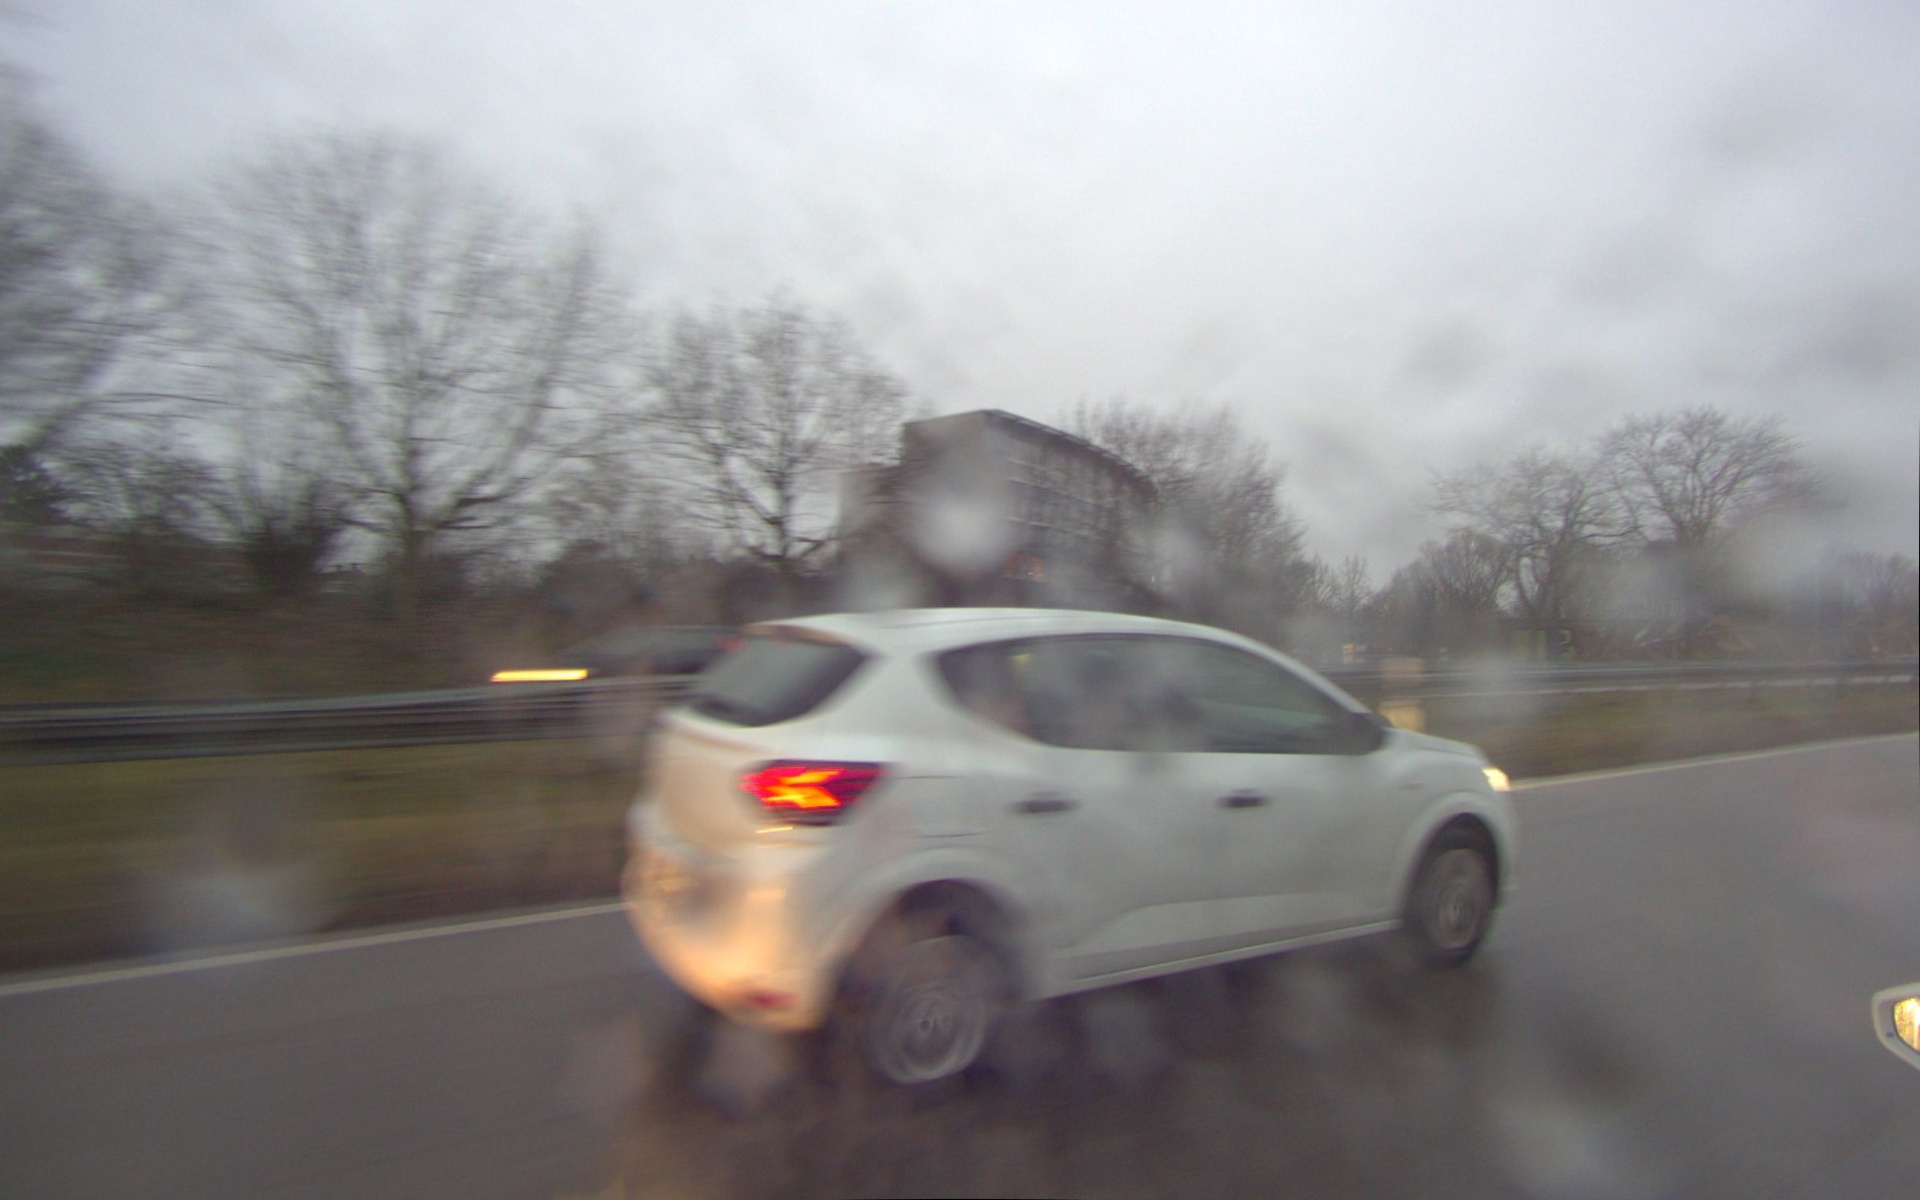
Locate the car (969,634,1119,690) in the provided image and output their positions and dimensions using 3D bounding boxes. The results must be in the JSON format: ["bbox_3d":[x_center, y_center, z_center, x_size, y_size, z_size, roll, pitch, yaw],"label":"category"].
[{"bbox_3d":[2.697,1.933,31.746,4.634,1.630,1.773,2,-2,-34],"label":"car"}]

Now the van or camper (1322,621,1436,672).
[{"bbox_3d":[15.494,1.709,37.143,4.155,1.807,1.643,2,-2,-28],"label":"van or camper"}]

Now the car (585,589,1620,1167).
[{"bbox_3d":[0.717,0.763,4.290,4.172,1.459,1.717,1,-2,-28],"label":"car"}]

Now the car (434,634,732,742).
[{"bbox_3d":[-6.089,1.369,16.389,4.320,1.553,1.778,2,-2,-26],"label":"car"}]
